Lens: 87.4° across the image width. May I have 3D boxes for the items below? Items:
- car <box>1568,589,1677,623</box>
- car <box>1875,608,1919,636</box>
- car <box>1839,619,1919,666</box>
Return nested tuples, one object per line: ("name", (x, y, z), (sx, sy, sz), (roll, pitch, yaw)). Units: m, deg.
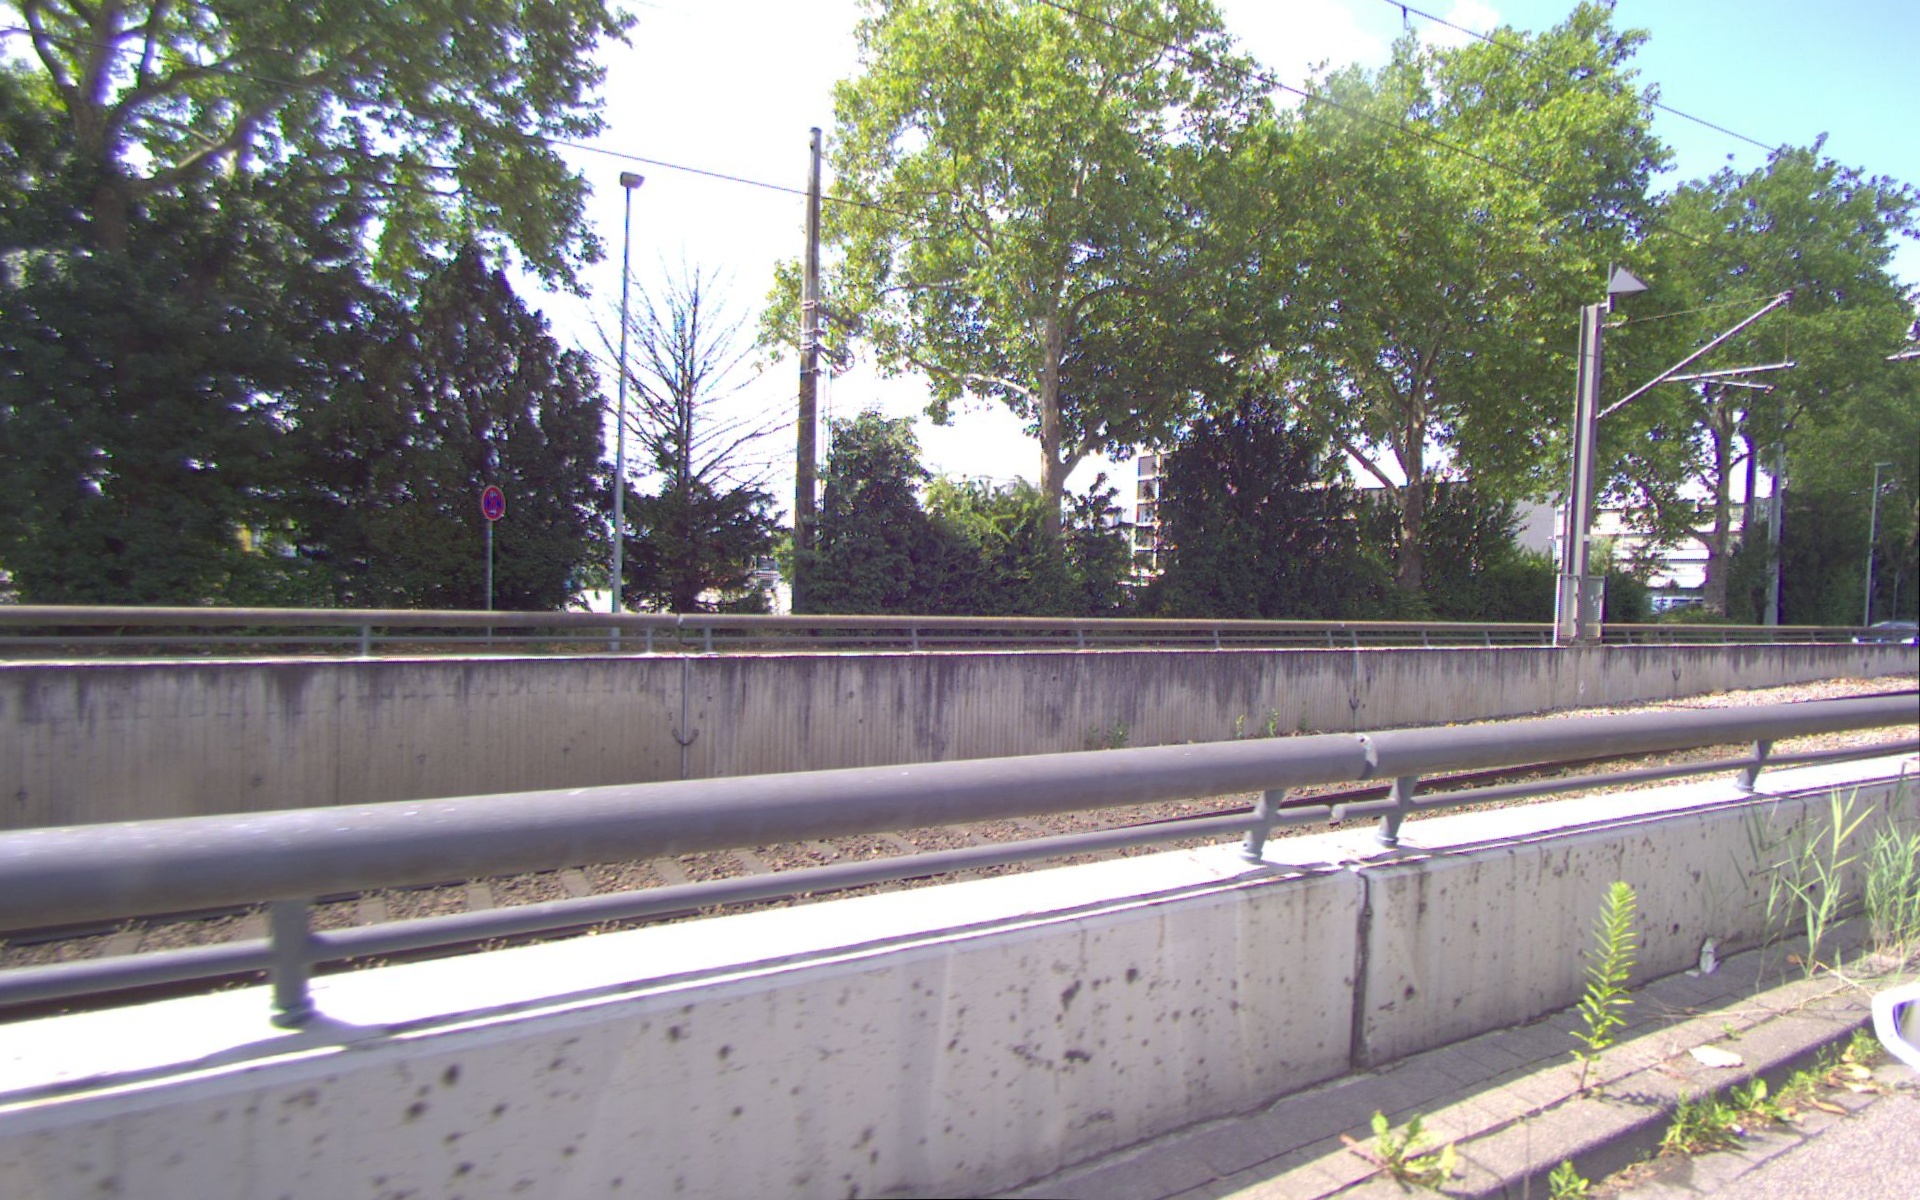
("car", (32.153, 0.262, 48.872), (1.976, 1.461, 3.969), (1, 1, -29))
("car", (64.392, 1.482, 67.497), (1.784, 1.773, 3.964), (1, 1, -32))
("car", (34.206, 1.526, 36.858), (4.247, 1.618, 1.659), (1, 0, -30))
